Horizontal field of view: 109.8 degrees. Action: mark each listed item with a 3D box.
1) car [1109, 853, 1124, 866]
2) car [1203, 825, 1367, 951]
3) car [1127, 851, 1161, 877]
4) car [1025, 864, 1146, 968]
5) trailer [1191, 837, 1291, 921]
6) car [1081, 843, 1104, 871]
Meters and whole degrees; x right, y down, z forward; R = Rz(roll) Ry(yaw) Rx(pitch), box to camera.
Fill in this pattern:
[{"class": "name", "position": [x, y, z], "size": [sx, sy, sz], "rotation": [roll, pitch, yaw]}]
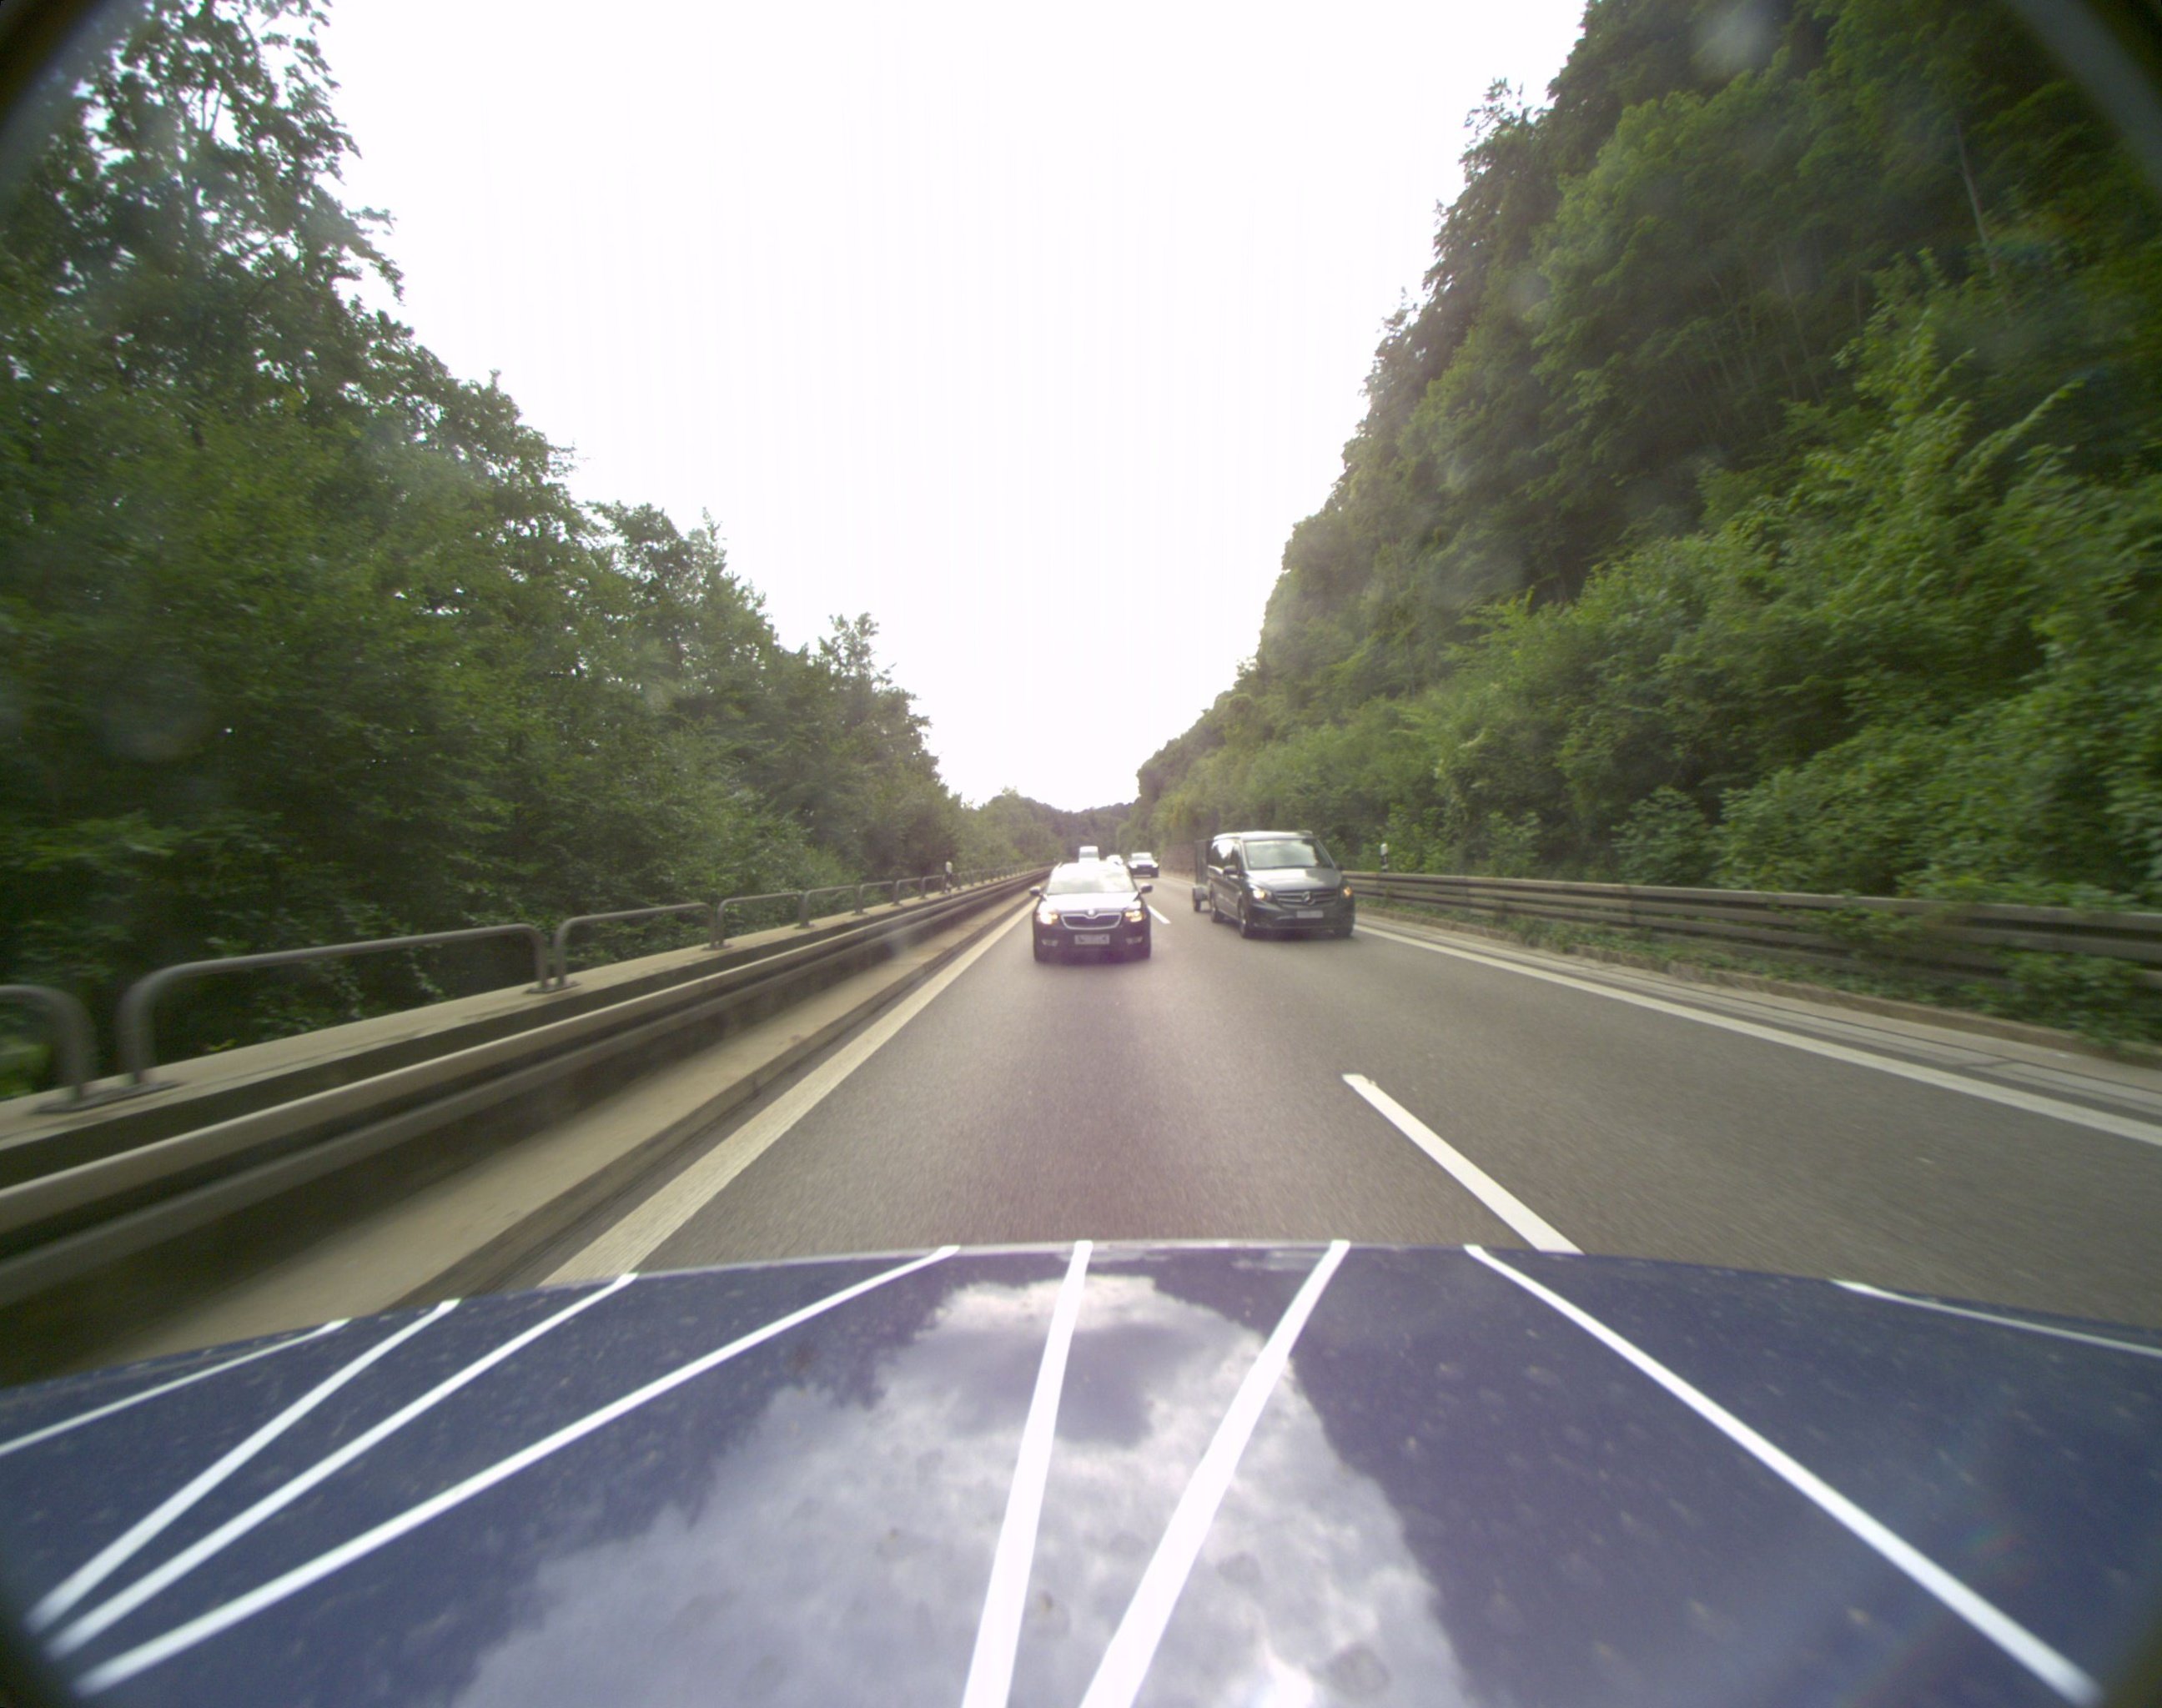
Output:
[{"class": "car", "position": [4.504, 0.719, 96.712], "size": [1.823, 1.546, 4.001], "rotation": [1, -1, 1]}, {"class": "car", "position": [3.772, 0.574, 15.170], "size": [1.998, 2.002, 5.541], "rotation": [-2, 0, 3]}, {"class": "car", "position": [4.192, 0.640, 51.553], "size": [1.976, 1.584, 5.585], "rotation": [-1, 1, 2]}, {"class": "car", "position": [0.108, 0.917, 12.836], "size": [1.638, 1.384, 4.500], "rotation": [-2, -1, 1]}, {"class": "trailer", "position": [4.017, 0.591, 19.636], "size": [1.975, 1.928, 3.431], "rotation": [-2, 0, 3]}, {"class": "car", "position": [1.115, 0.319, 73.983], "size": [2.099, 2.547, 5.921], "rotation": [1, -1, 1]}]
